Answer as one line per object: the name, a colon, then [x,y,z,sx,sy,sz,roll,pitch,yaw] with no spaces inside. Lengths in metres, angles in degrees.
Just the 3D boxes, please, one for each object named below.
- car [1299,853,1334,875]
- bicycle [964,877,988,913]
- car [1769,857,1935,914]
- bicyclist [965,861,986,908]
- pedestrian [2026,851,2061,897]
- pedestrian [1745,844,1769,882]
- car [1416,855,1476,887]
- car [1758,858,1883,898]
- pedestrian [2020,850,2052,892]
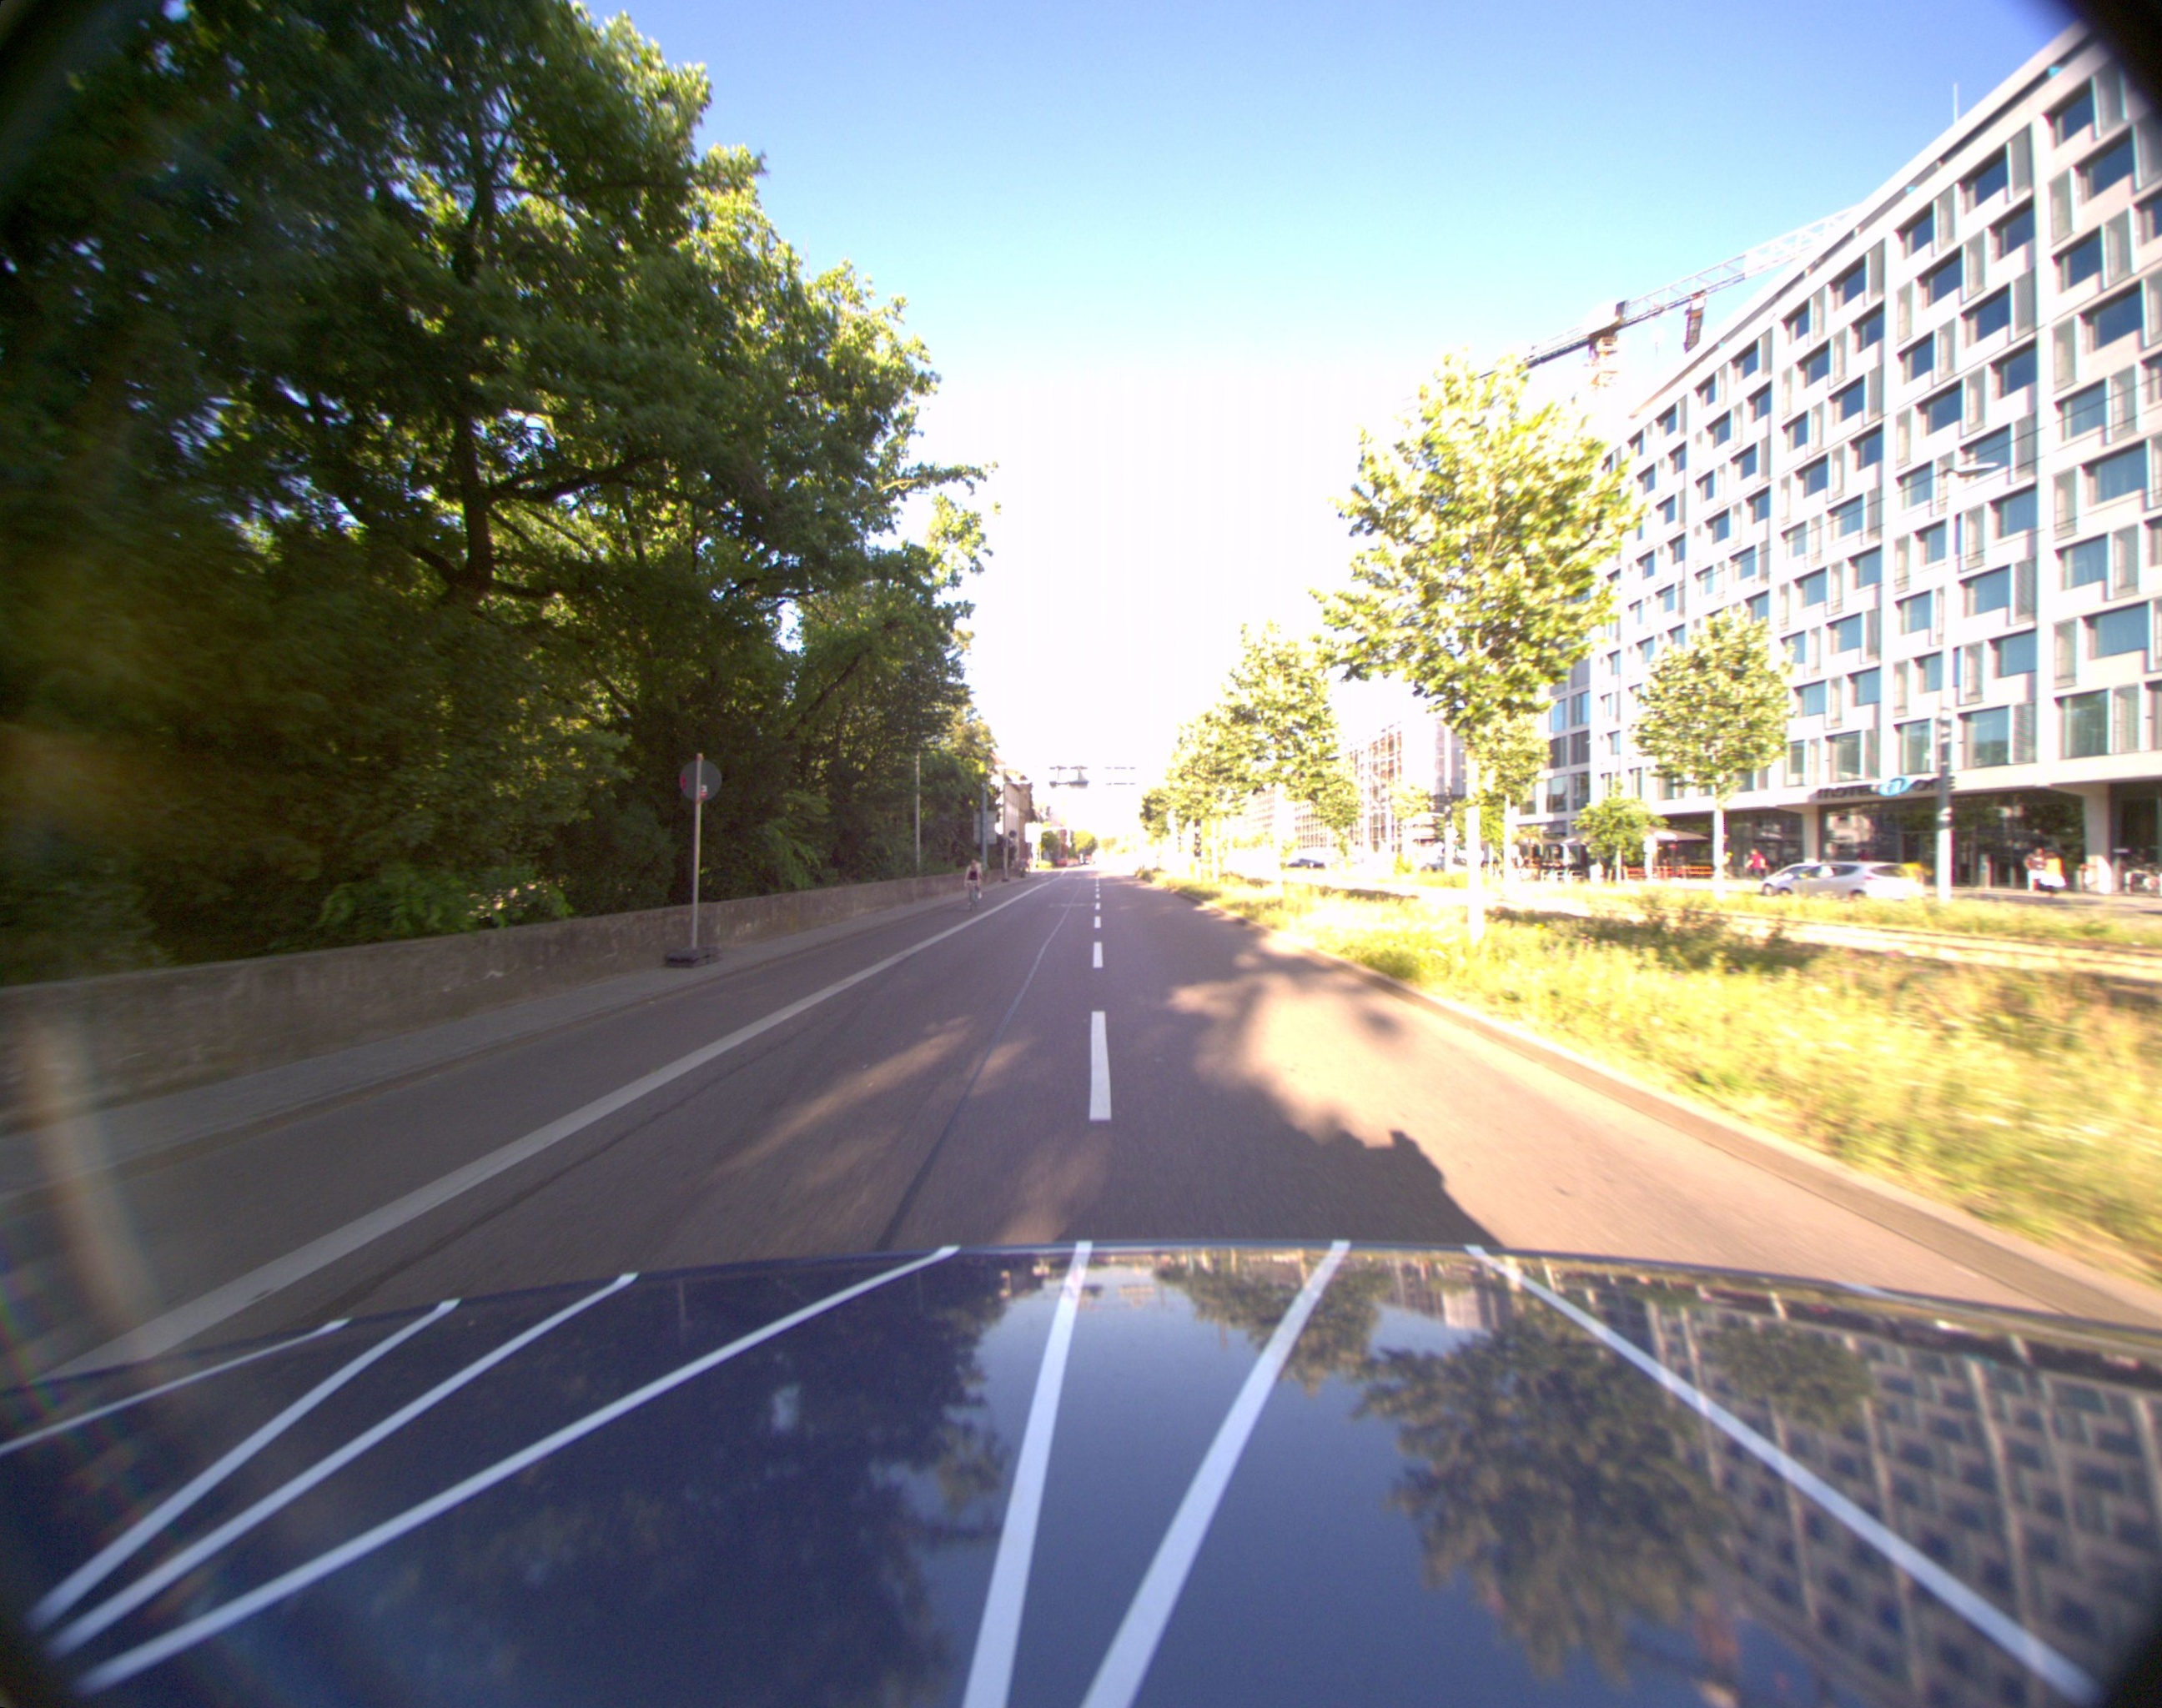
car: [20.850,0.874,67.410,1.874,1.742,3.793,-2,1,1]
bicycle: [-3.223,1.258,23.403,0.506,1.018,1.505,0,0,1]
car: [24.766,0.963,24.586,1.874,1.582,3.482,-2,1,1]
bicyclist: [-3.226,0.924,23.337,0.516,1.399,0.805,0,1,1]
pedestrian: [34.724,0.720,27.413,0.479,1.626,0.597,0,1,2]
pedestrian: [36.605,0.486,41.156,0.621,2.002,0.726,0,1,2]
car: [22.444,1.007,46.858,1.874,1.742,3.793,-2,1,1]
car: [30.529,0.956,31.511,1.874,1.457,3.389,-2,1,1]
pedestrian: [37.304,0.641,29.682,0.479,1.626,0.597,0,1,2]
